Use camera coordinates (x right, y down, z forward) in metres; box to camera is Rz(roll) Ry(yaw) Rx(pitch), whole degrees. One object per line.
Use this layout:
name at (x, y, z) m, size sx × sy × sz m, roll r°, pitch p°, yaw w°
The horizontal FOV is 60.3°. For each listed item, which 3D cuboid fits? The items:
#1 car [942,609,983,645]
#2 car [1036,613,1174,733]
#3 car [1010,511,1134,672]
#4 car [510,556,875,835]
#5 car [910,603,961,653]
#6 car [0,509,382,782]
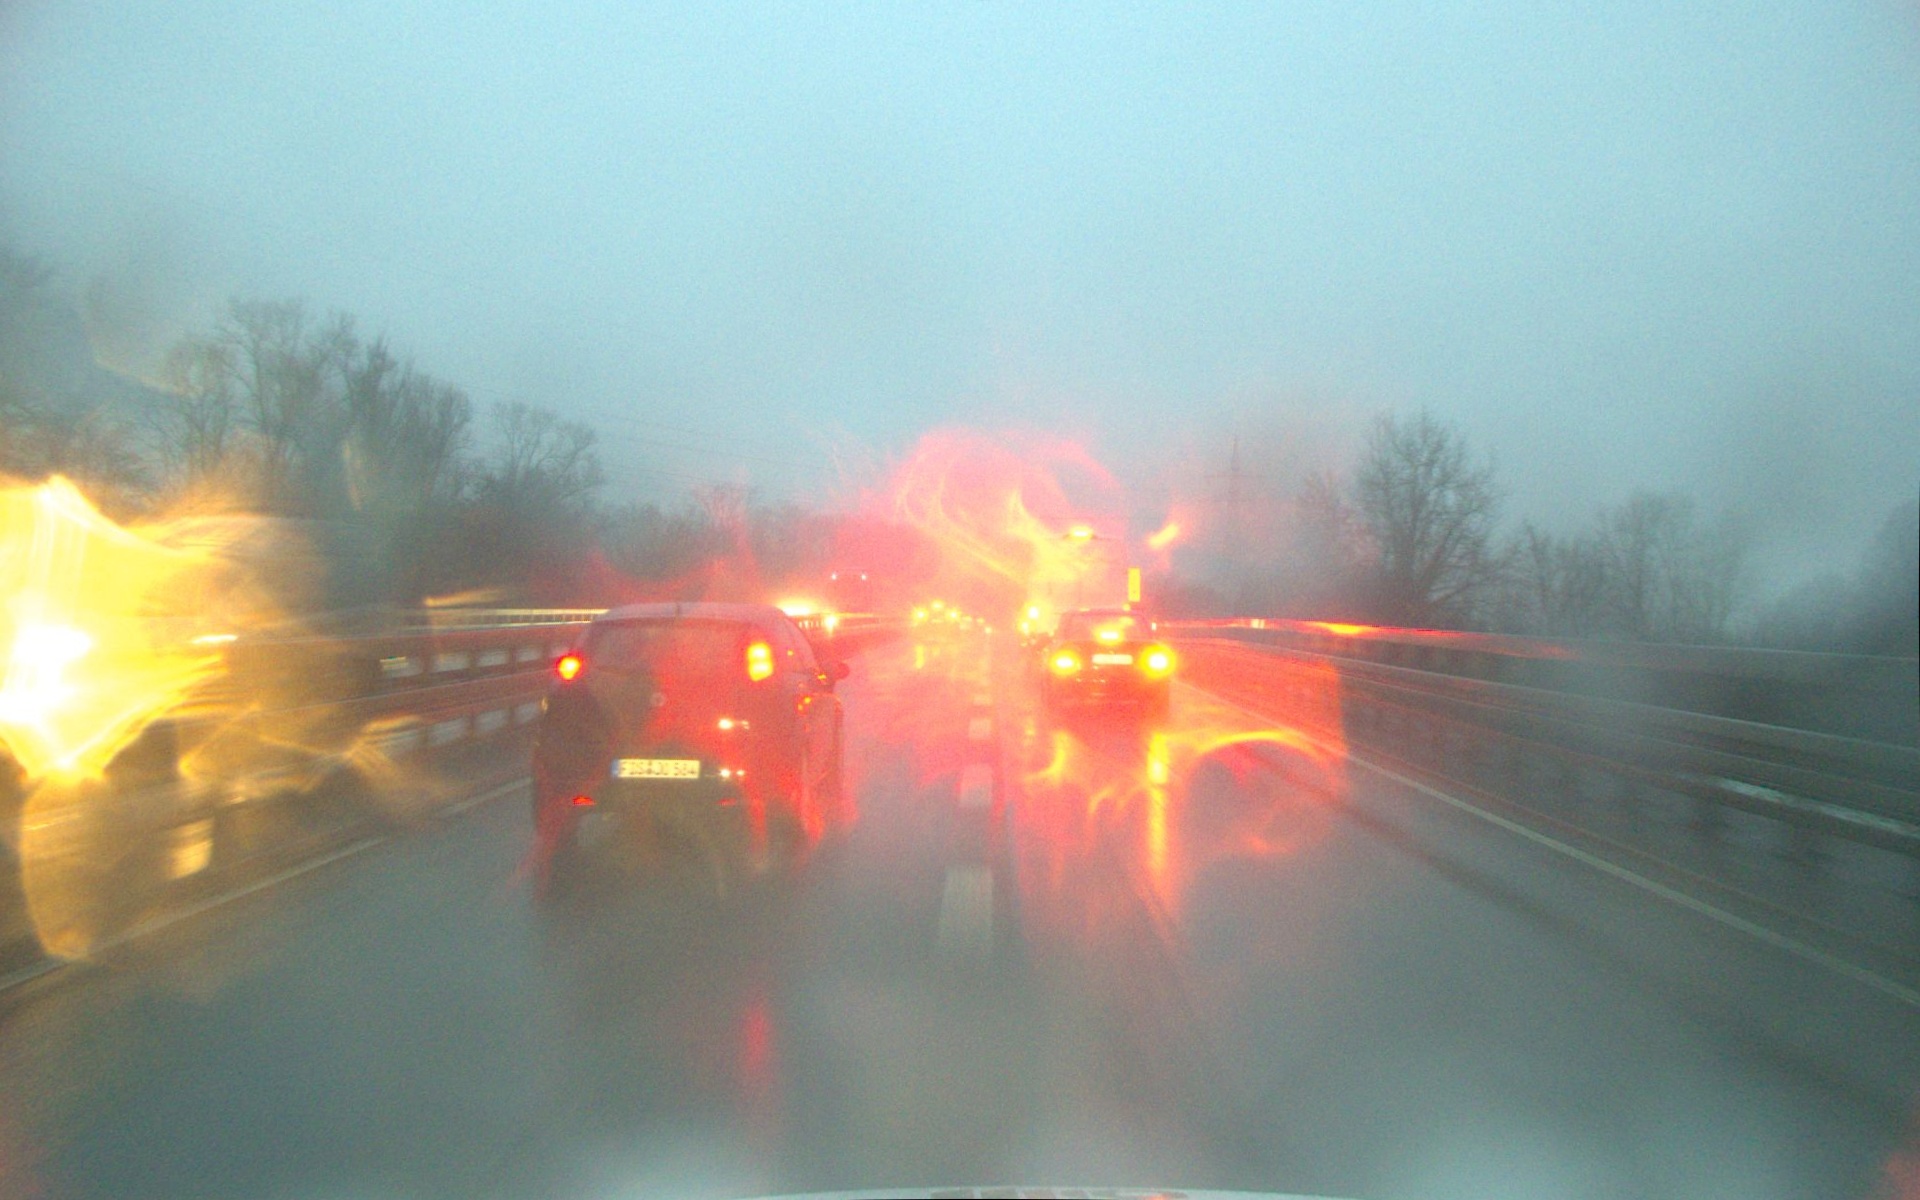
car at (0.082, 1.347, 84.463) m, size 1.953 × 1.744 × 3.999 m, roll 2°, pitch 0°, yaw -1°
car at (1.969, 0.950, 23.460) m, size 1.700 × 1.439 × 4.379 m, roll 3°, pitch 0°, yaw 2°
car at (2.196, -0.114, 34.286) m, size 2.235 × 3.018 × 6.391 m, roll 0°, pitch -1°, yaw 1°
car at (-1.609, 0.584, 11.314) m, size 1.694 × 1.559 × 4.043 m, roll 0°, pitch -1°, yaw 2°
car at (-0.977, 1.104, 67.203) m, size 1.953 × 1.846 × 4.000 m, roll 3°, pitch 0°, yaw -1°
car at (-7.739, 0.419, 16.586) m, size 2.007 × 2.303 × 5.207 m, roll 0°, pitch -1°, yaw 0°
